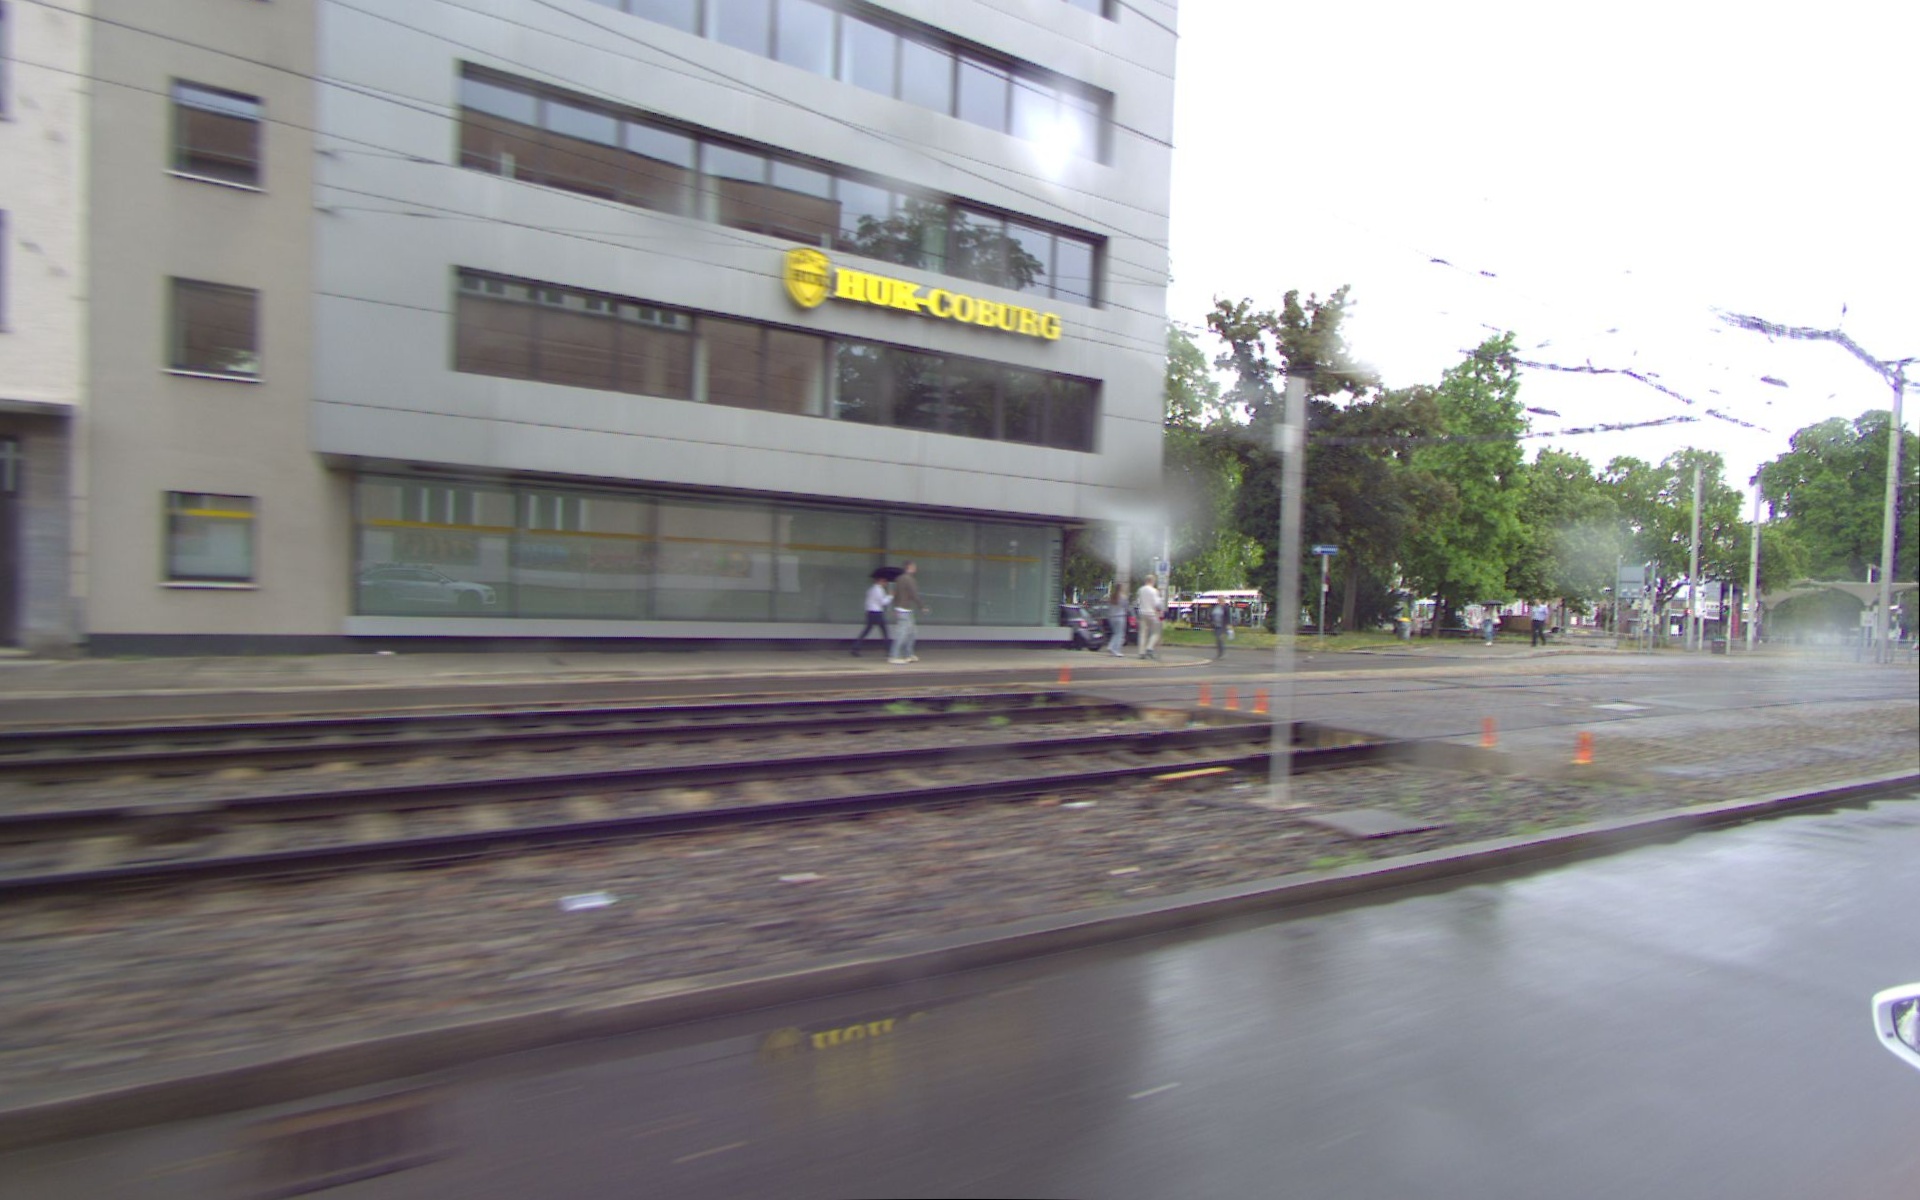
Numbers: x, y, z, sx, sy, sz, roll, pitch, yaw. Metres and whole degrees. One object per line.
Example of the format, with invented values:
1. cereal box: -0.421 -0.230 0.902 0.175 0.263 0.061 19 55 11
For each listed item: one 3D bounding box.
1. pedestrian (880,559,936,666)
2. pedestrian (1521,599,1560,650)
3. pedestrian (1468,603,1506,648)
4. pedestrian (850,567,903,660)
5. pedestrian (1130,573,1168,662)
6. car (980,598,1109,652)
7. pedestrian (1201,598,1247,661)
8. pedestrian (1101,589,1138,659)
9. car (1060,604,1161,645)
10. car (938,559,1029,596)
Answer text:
1. pedestrian: -1.024 0.244 19.805 0.801 2.041 0.658 2 2 -30
2. pedestrian: 22.509 0.930 38.952 0.895 1.888 1.004 3 2 10
3. pedestrian: 19.808 0.961 37.754 0.996 1.615 0.902 1 3 -42
4. pedestrian: -1.703 0.267 20.661 0.954 1.840 0.663 3 2 0
5. pedestrian: 4.456 0.408 23.672 0.650 2.041 0.616 4 2 22
6. car: 2.638 0.766 31.579 3.681 1.571 1.697 1 -1 36
7. pedestrian: 7.134 0.792 27.176 0.585 1.615 0.954 1 3 -44
8. pedestrian: 3.832 0.569 24.173 0.625 1.615 0.587 2 2 -13
9. car: 5.751 0.910 38.518 3.484 1.467 1.696 1 -1 38
10. car: 0.996 -0.919 42.470 3.480 1.467 1.698 1 -1 34
